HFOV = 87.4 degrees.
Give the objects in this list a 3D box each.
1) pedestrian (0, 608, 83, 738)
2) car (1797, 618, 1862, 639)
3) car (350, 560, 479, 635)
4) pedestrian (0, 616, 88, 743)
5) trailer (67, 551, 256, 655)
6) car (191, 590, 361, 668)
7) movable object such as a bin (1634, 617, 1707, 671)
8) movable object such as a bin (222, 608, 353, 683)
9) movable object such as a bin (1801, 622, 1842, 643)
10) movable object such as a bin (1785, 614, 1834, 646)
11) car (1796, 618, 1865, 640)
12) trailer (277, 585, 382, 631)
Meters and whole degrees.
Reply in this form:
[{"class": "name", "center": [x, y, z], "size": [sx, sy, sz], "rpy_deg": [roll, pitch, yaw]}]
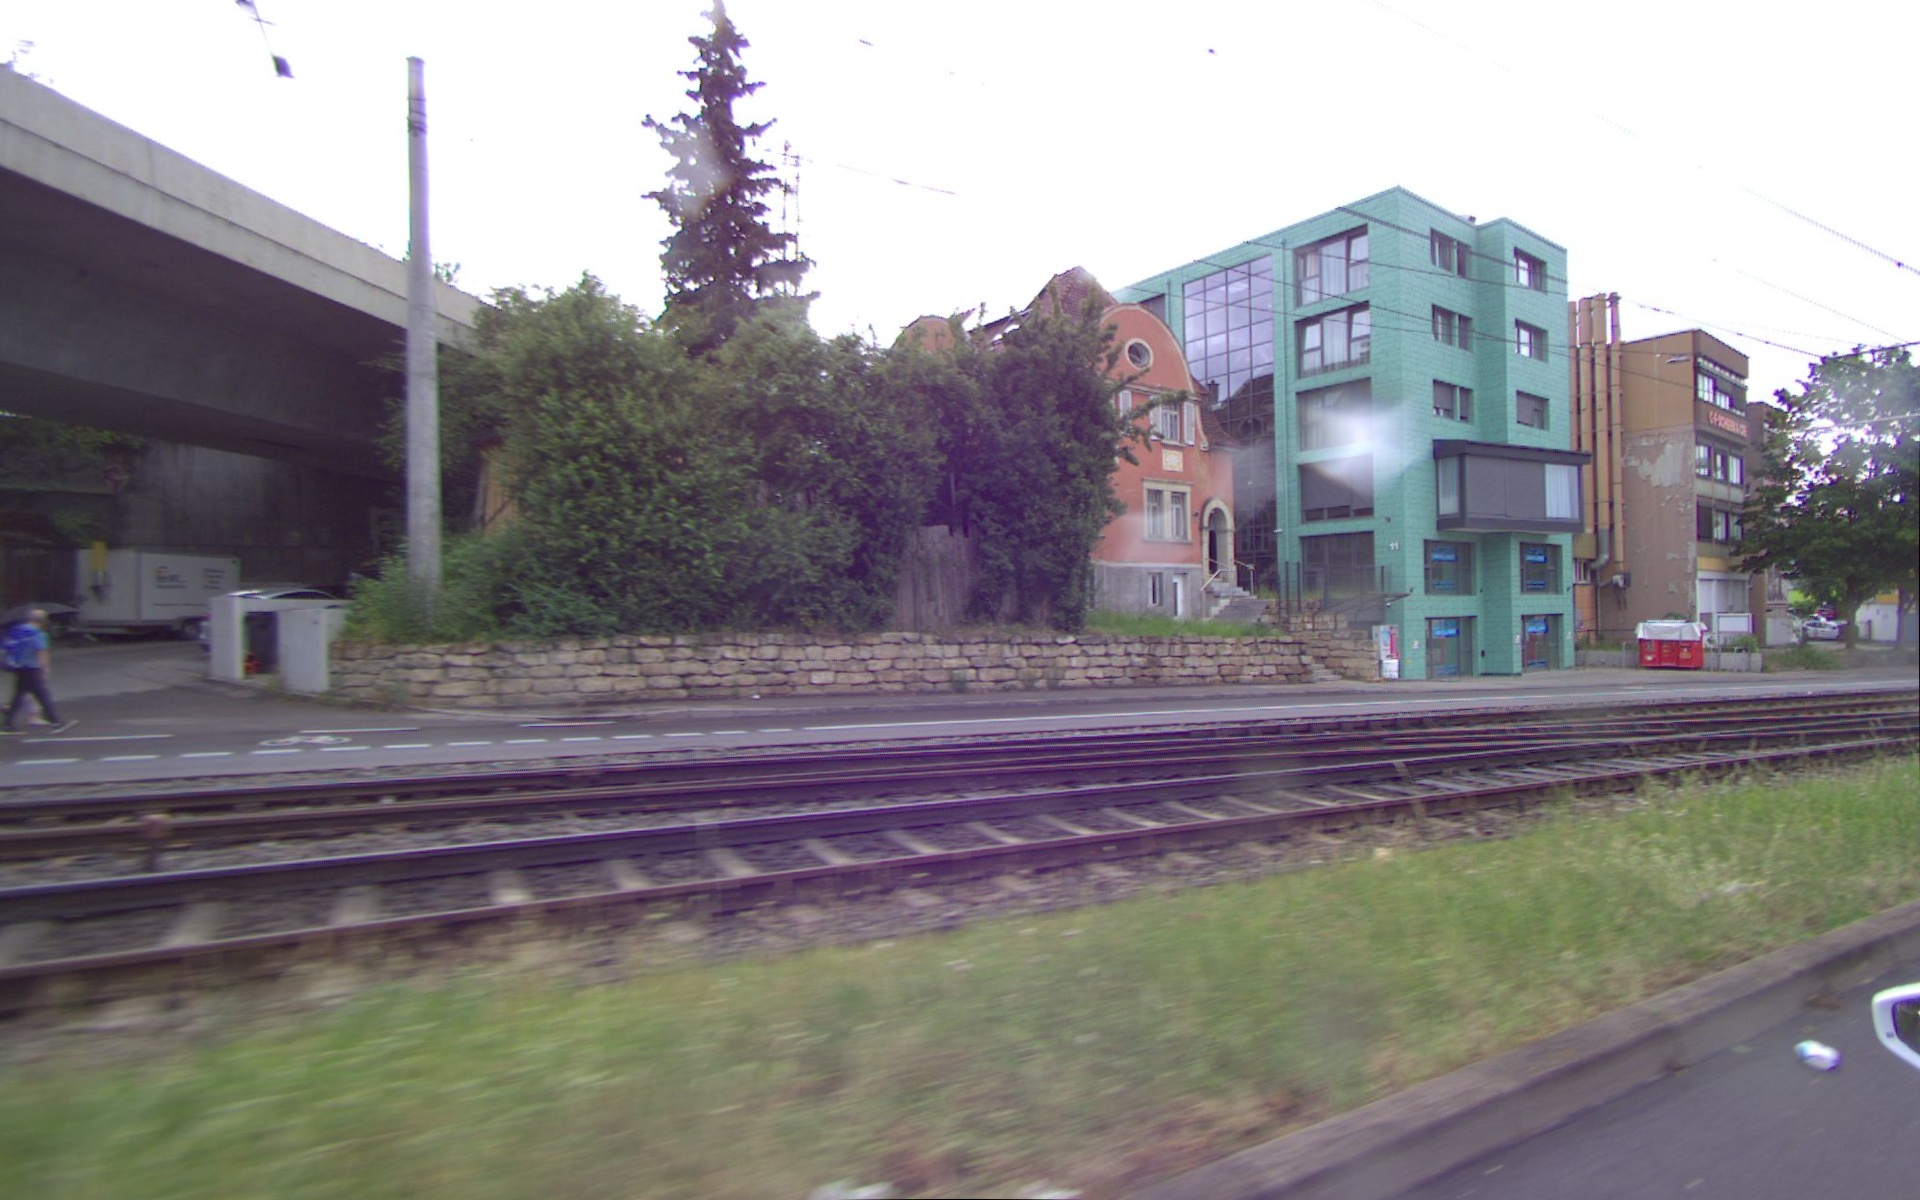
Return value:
[{"class": "pedestrian", "center": [-13.665, 1.058, 14.877], "size": [0.856, 1.855, 0.690], "rpy_deg": [0, 0, -29]}, {"class": "car", "center": [68.851, 2.225, 79.568], "size": [3.715, 1.499, 1.570], "rpy_deg": [1, 0, 36]}, {"class": "car", "center": [-16.067, -0.110, 29.756], "size": [1.761, 2.067, 3.199], "rpy_deg": [1, 2, 9]}, {"class": "pedestrian", "center": [-12.863, 1.079, 14.013], "size": [0.876, 1.692, 0.691], "rpy_deg": [0, 0, -26]}, {"class": "trailer", "center": [-22.804, 0.096, 28.919], "size": [1.960, 2.761, 4.125], "rpy_deg": [0, 0, 4]}, {"class": "car", "center": [-16.643, 0.647, 24.609], "size": [1.684, 1.690, 3.199], "rpy_deg": [1, 2, 9]}, {"class": "movable object such as a bin", "center": [30.803, 1.878, 43.571], "size": [1.785, 2.186, 2.118], "rpy_deg": [-1, 2, -37]}, {"class": "movable object such as a bin", "center": [-14.429, 0.937, 21.638], "size": [1.530, 1.499, 1.803], "rpy_deg": [0, 1, 6]}, {"class": "movable object such as a bin", "center": [60.789, 2.290, 70.894], "size": [1.557, 1.394, 1.977], "rpy_deg": [-1, 2, -40]}, {"class": "movable object such as a bin", "center": [57.155, 2.009, 67.567], "size": [3.542, 1.945, 1.977], "rpy_deg": [-1, 2, -40]}, {"class": "car", "center": [64.756, 2.160, 74.827], "size": [3.715, 1.473, 1.547], "rpy_deg": [1, 0, 36]}, {"class": "trailer", "center": [-23.074, 0.299, 36.934], "size": [1.965, 1.617, 3.991], "rpy_deg": [0, 0, -12]}]
